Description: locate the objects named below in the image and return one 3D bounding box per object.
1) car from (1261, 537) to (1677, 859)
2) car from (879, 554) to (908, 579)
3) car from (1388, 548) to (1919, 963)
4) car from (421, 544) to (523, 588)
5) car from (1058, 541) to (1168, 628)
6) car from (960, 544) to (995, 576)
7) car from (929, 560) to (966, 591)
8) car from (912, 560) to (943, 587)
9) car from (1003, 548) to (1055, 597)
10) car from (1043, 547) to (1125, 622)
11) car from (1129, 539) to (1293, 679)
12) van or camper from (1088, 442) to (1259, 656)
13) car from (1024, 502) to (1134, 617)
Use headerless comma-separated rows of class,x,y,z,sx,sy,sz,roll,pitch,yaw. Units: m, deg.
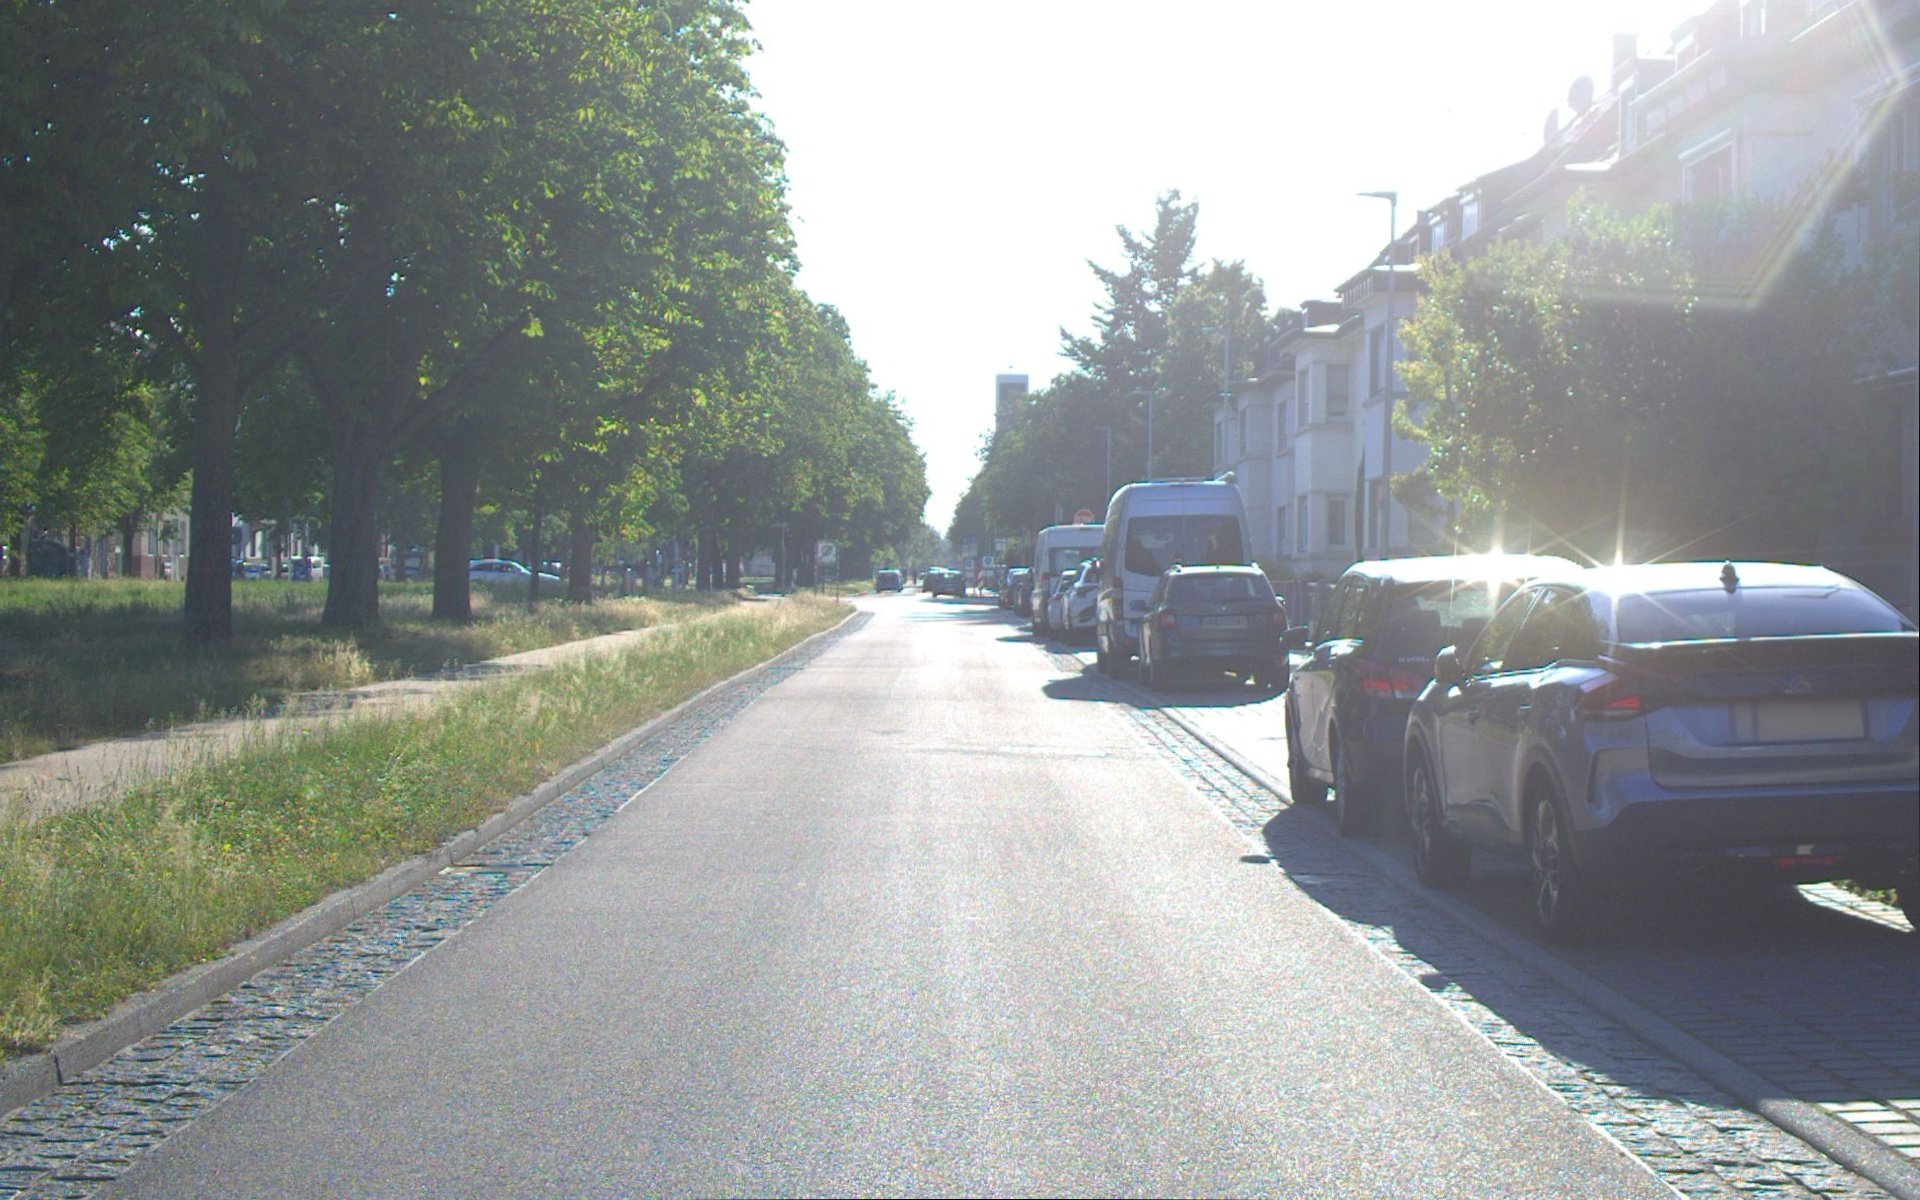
car,3.006,0.500,21.215,1.832,1.679,4.415,3,1,0
car,-4.464,-2.241,230.261,1.863,1.591,3.870,2,0,-1
car,3.118,0.577,15.381,1.718,1.568,4.210,-1,0,-2
car,-21.521,-1.492,151.565,4.345,1.758,2.000,2,0,-8
car,2.956,-0.329,67.241,1.837,1.630,4.132,0,1,-2
car,0.860,-1.934,166.209,1.650,1.525,3.851,0,1,1
car,-0.669,-1.325,184.663,1.863,1.591,3.894,2,0,-1
car,-2.064,-1.669,216.785,1.863,1.591,3.870,2,0,-1
car,2.209,-0.895,110.390,1.650,1.525,3.851,0,1,1
car,2.587,-0.341,72.603,1.650,1.525,3.851,0,1,1
car,3.022,0.081,42.091,1.663,1.587,4.086,-2,1,0
van or camper,2.930,-0.676,48.347,1.943,2.768,5.940,2,0,0
car,2.680,-0.934,78.679,2.126,2.524,5.189,0,1,-2
